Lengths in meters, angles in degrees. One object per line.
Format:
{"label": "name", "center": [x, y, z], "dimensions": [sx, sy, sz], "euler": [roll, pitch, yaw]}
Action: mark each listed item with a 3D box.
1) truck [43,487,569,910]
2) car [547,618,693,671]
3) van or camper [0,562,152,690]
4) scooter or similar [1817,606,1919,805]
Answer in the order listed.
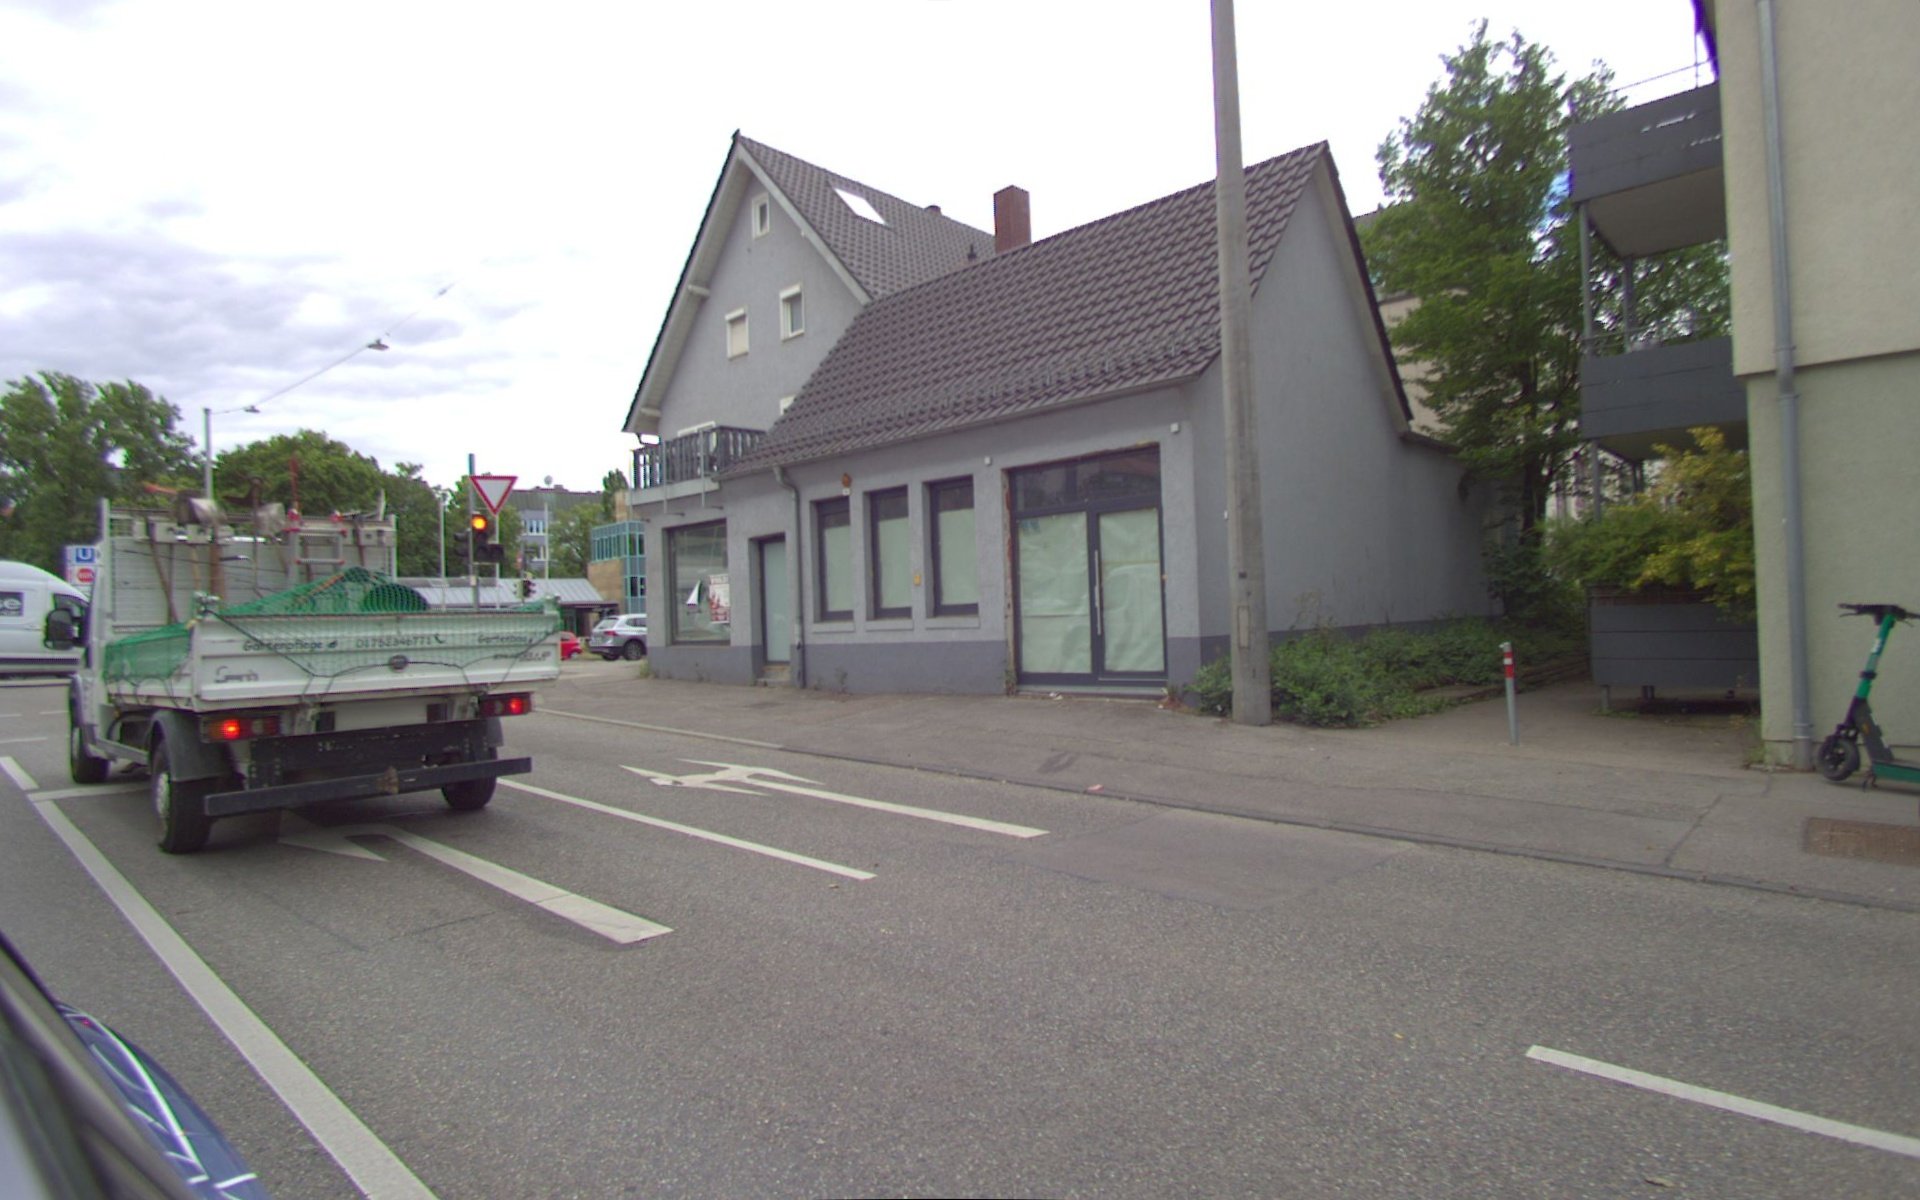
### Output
{"label": "truck", "center": [-5.783, 0.579, 8.344], "dimensions": [6.590, 2.218, 2.098], "euler": [-2, 0, 43]}
{"label": "car", "center": [-11.945, 1.588, 35.722], "dimensions": [2.001, 1.683, 4.446], "euler": [-7, -7, 45]}
{"label": "van or camper", "center": [-21.294, 0.603, 21.771], "dimensions": [2.258, 2.693, 5.853], "euler": [-4, -4, 43]}
{"label": "scooter or similar", "center": [6.348, 0.685, 6.676], "dimensions": [0.351, 1.274, 0.989], "euler": [-2, 1, -23]}
